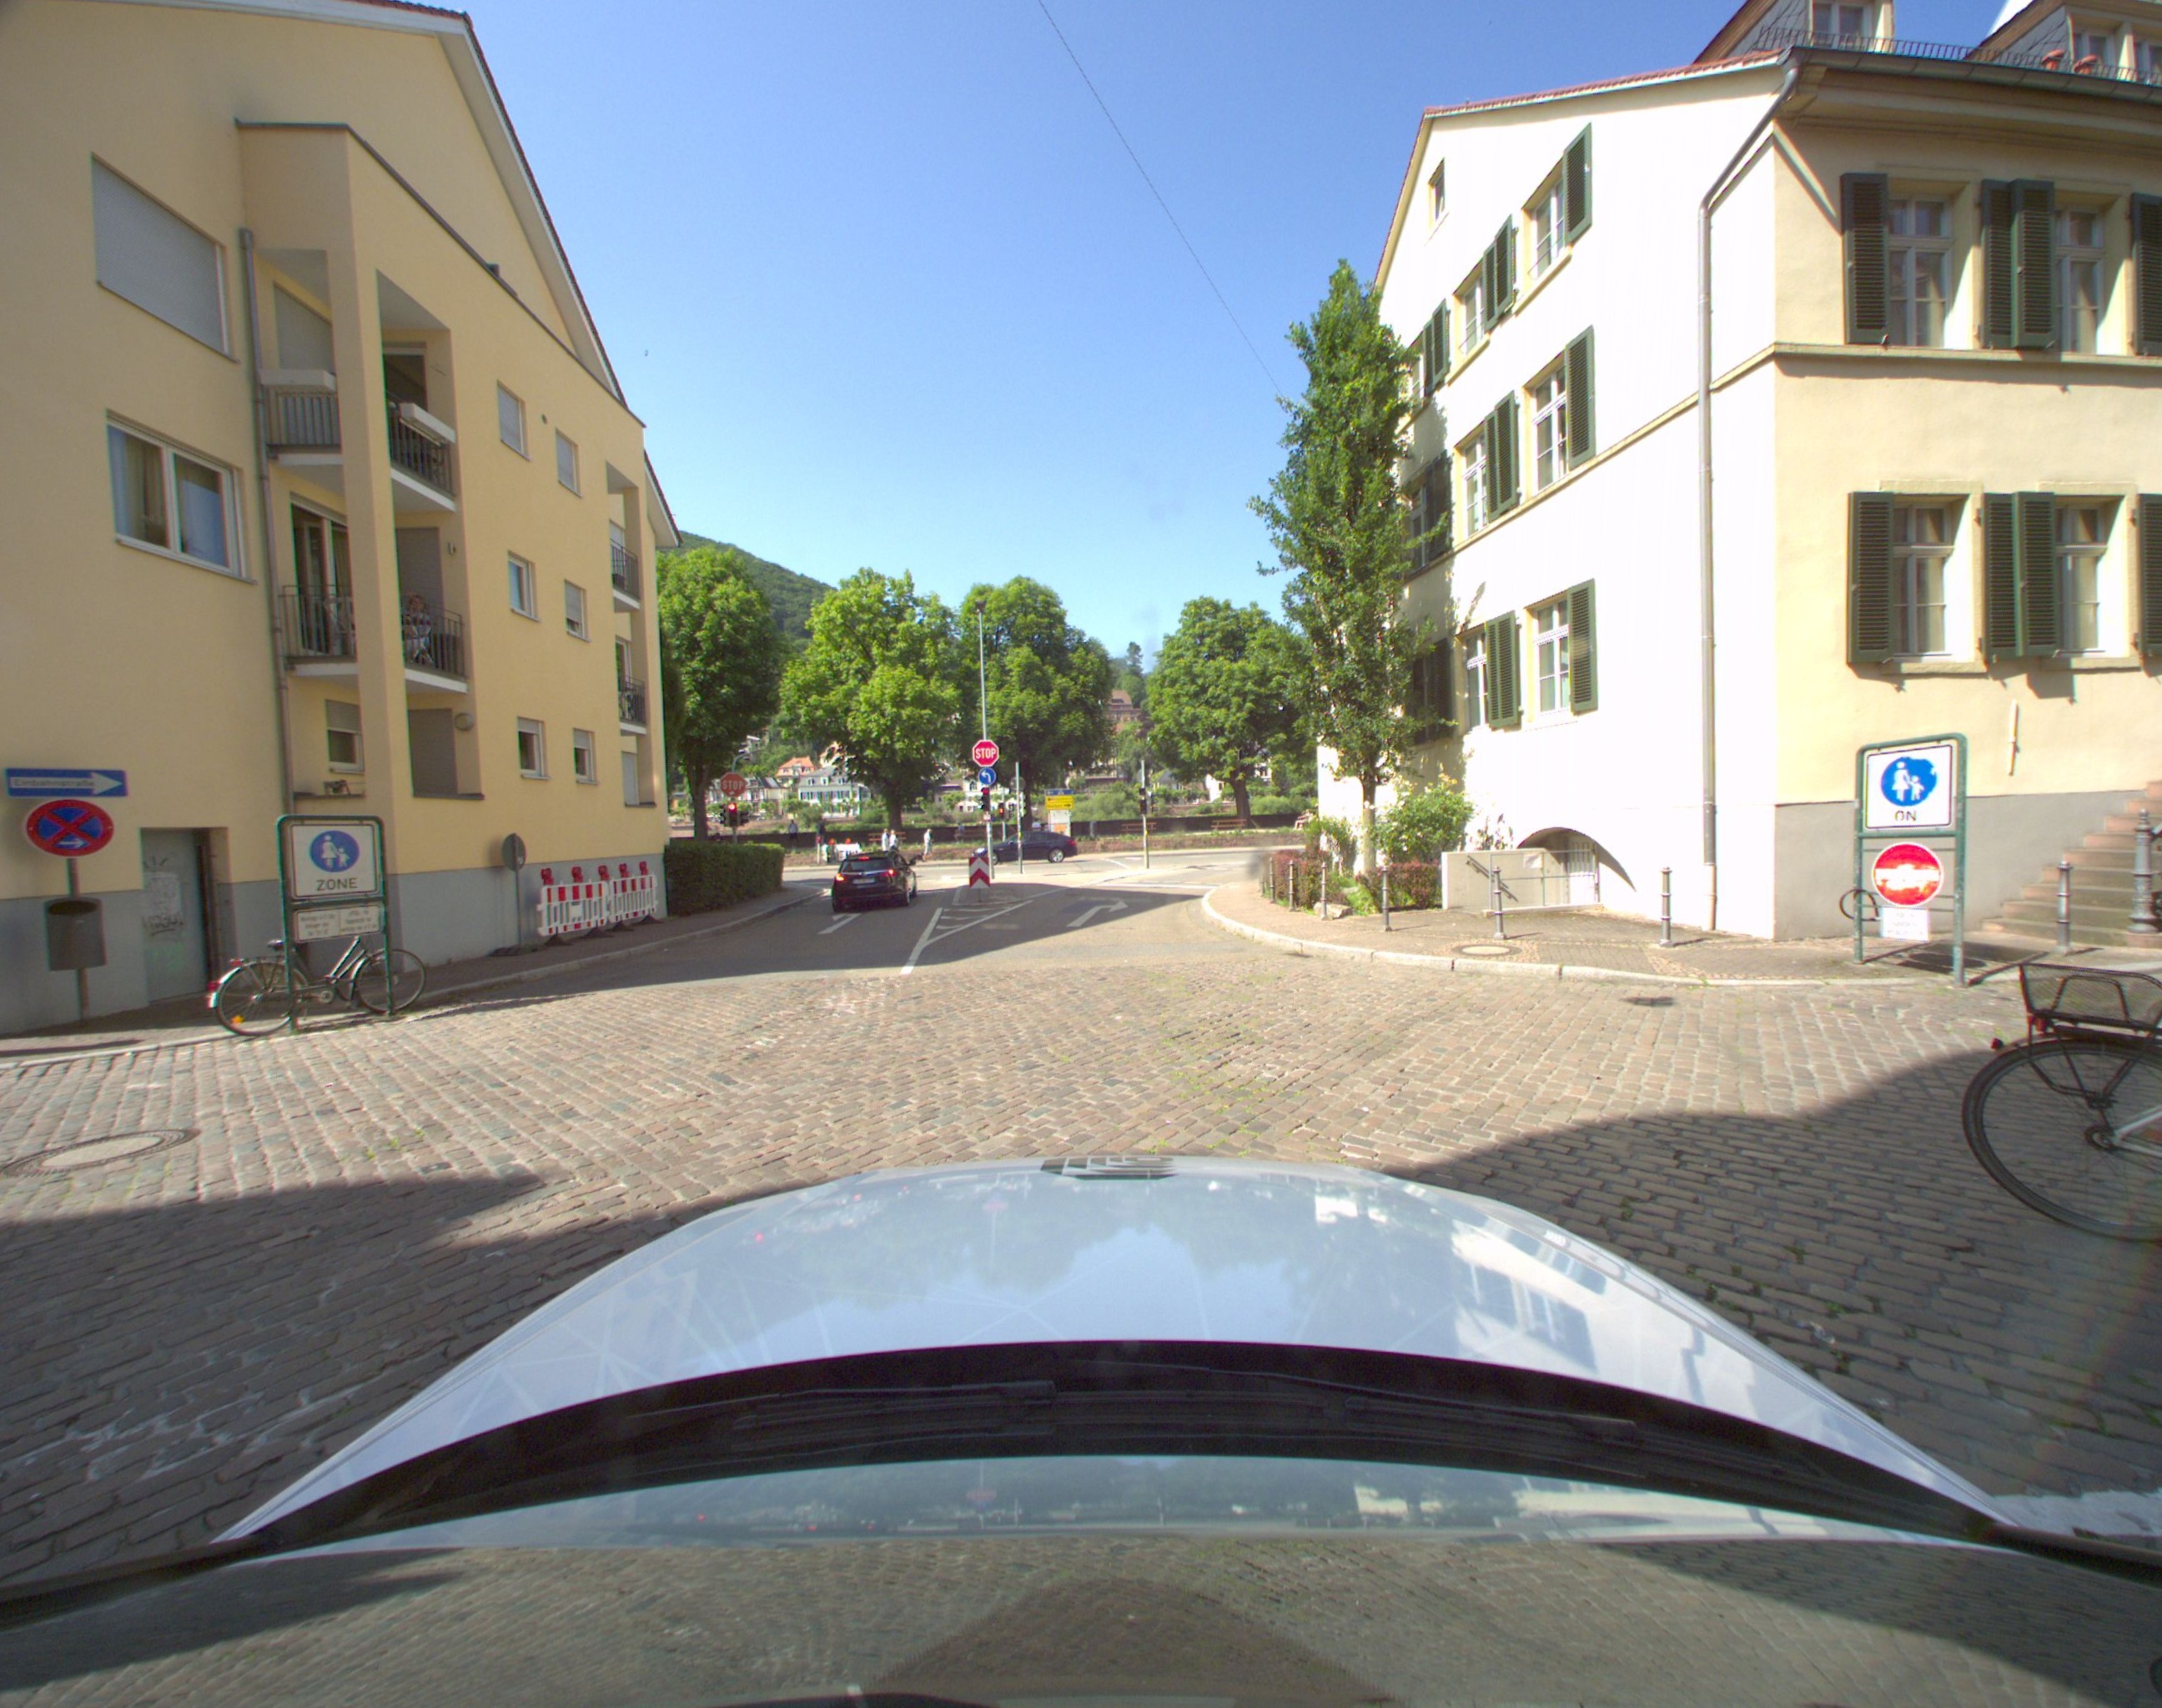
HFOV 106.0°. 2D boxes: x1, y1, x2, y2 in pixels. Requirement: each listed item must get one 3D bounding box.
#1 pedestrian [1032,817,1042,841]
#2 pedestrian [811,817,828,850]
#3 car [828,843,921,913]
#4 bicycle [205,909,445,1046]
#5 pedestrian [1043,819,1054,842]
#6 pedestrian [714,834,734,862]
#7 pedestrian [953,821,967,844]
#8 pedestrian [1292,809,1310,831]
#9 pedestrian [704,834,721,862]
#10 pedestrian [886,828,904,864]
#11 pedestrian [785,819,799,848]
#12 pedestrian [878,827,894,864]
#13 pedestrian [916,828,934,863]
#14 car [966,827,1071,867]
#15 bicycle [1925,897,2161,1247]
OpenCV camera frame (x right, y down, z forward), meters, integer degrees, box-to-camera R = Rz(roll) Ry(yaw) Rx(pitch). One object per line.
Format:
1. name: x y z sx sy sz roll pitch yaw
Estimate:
1. pedestrian: -2.504 -1.408 46.137 0.552 1.279 0.703 0 -1 -5
2. pedestrian: -15.181 -1.199 47.289 0.766 1.857 0.751 -2 1 -24
3. car: -5.380 0.546 21.753 1.712 1.461 4.714 -4 2 -7
4. bicycle: -7.810 1.226 8.562 0.388 1.079 1.917 -2 2 12
5. pedestrian: -1.877 -1.344 46.526 0.552 1.228 0.984 0 -1 -6
6. pedestrian: -19.343 -0.348 44.160 0.466 1.479 1.384 -2 2 -2
7. pedestrian: -6.758 -1.186 45.469 0.643 1.228 0.411 -3 1 -19
8. pedestrian: 13.041 -2.011 48.305 0.796 1.211 0.714 0 -1 -4
9. pedestrian: -19.851 -0.340 43.863 0.466 1.493 0.804 -2 2 -2
10. pedestrian: -9.586 -0.412 41.976 0.720 1.801 0.633 -3 1 -4
11. pedestrian: -17.556 -1.232 49.520 0.709 1.731 0.752 -2 1 -17
12. pedestrian: -9.792 -0.446 40.864 0.577 1.801 0.704 -3 1 -4
13. pedestrian: -8.046 -0.450 41.907 0.686 1.769 0.717 -3 1 -1
14. car: -2.984 -0.323 38.447 4.763 1.517 1.900 -4 1 -10
15. bicycle: 4.095 0.758 2.689 0.508 1.146 1.772 -4 2 -41
